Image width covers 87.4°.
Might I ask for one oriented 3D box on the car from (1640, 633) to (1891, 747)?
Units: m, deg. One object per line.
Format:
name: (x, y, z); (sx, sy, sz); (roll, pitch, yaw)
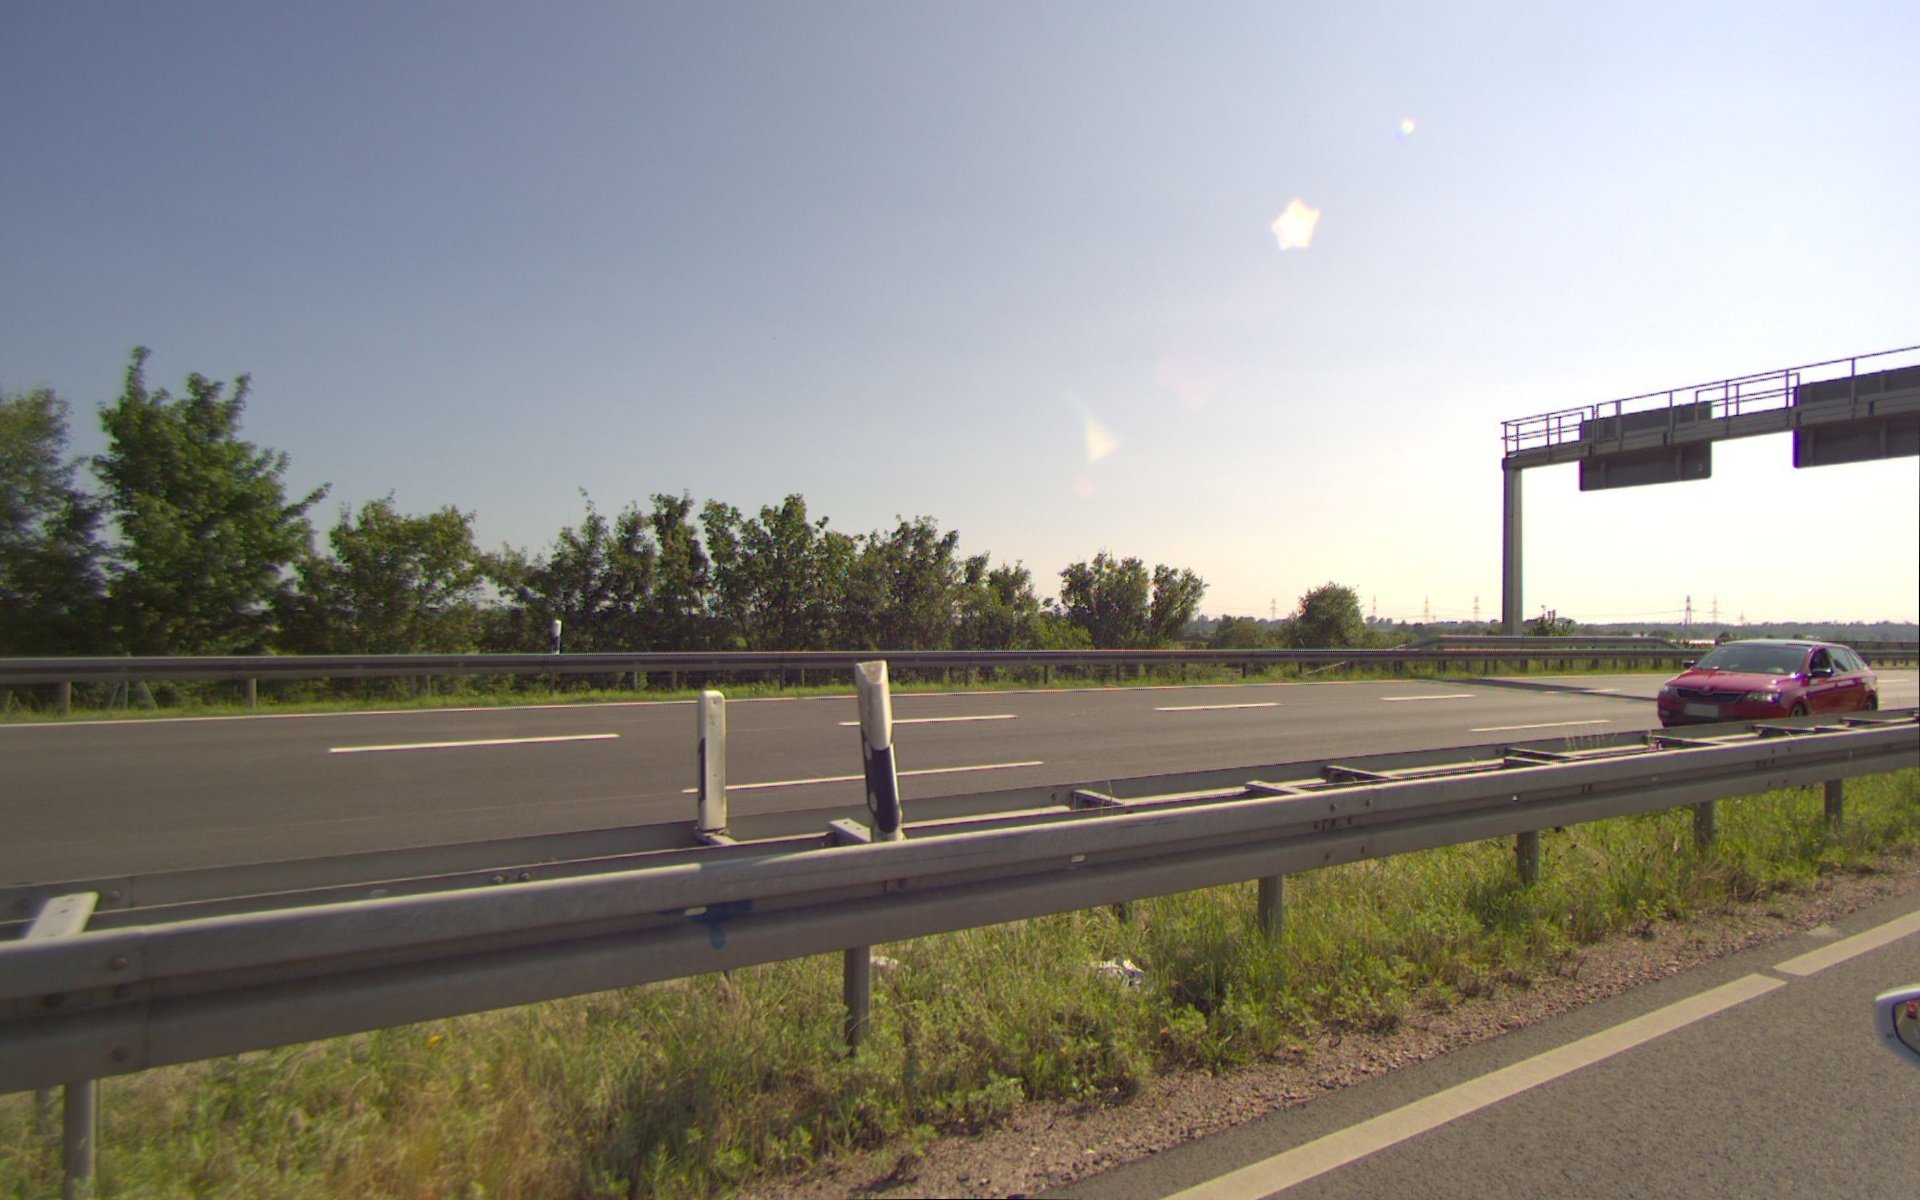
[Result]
car: (12.584, 1.304, 15.638); (4.217, 1.506, 1.701); (1, 0, -31)
